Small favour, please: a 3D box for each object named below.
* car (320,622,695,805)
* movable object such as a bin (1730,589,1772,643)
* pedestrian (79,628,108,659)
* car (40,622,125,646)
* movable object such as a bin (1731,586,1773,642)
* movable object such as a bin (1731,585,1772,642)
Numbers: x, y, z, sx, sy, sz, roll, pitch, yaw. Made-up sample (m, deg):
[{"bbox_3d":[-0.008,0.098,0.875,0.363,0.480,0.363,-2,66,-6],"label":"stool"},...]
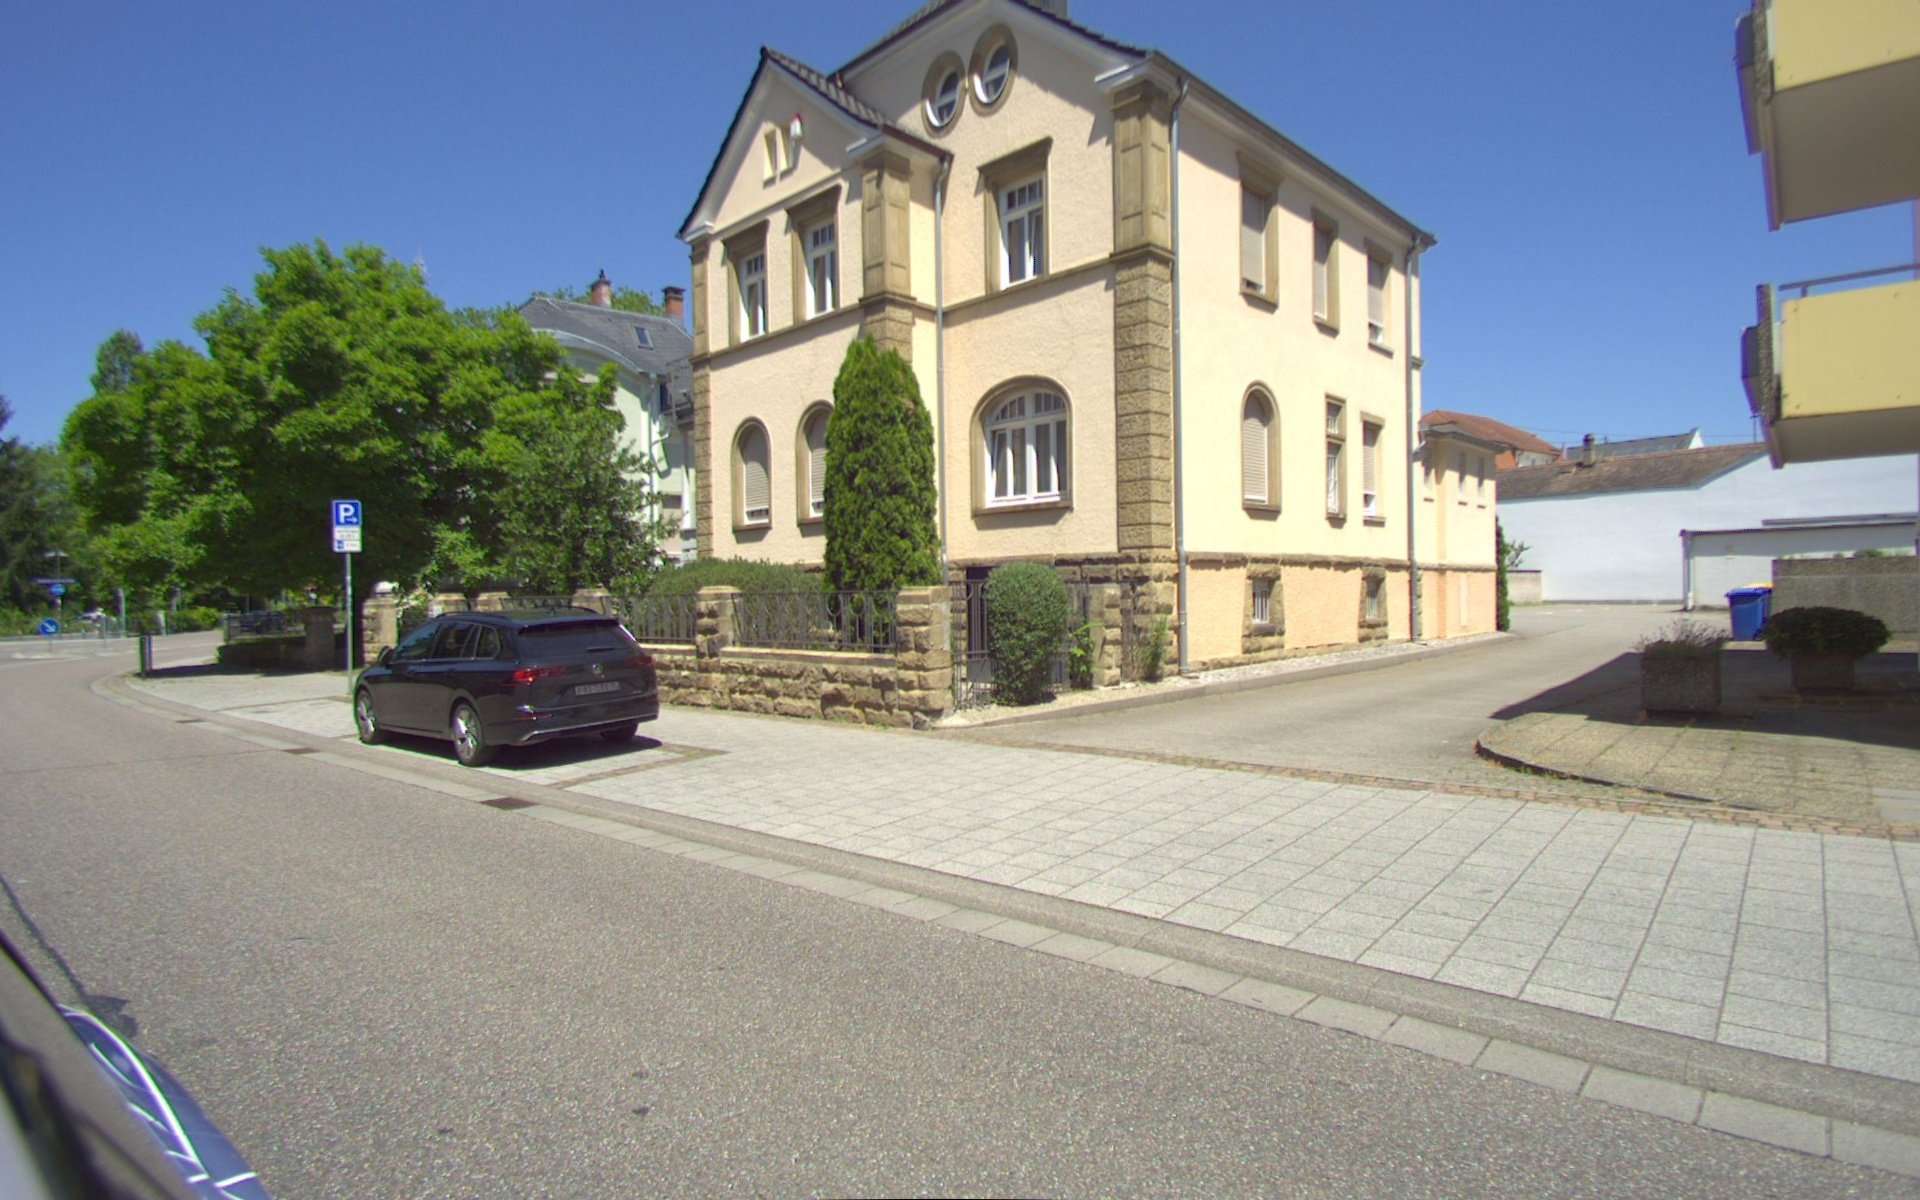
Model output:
[{"bbox_3d":[-5.074,1.045,11.025,4.657,1.447,1.906,-2,2,41],"label":"car"},{"bbox_3d":[16.200,0.331,20.726,0.644,1.085,0.489,-1,-1,41],"label":"movable object such as a bin"},{"bbox_3d":[-49.875,2.495,58.260,0.902,1.785,0.915,1,0,0],"label":"pedestrian"},{"bbox_3d":[-63.704,2.440,73.535,1.769,1.511,4.439,-2,0,41],"label":"car"},{"bbox_3d":[16.545,0.294,21.139,0.644,1.138,0.489,-1,-1,41],"label":"movable object such as a bin"},{"bbox_3d":[16.891,0.293,21.603,0.644,1.193,0.489,-1,-1,41],"label":"movable object such as a bin"}]
